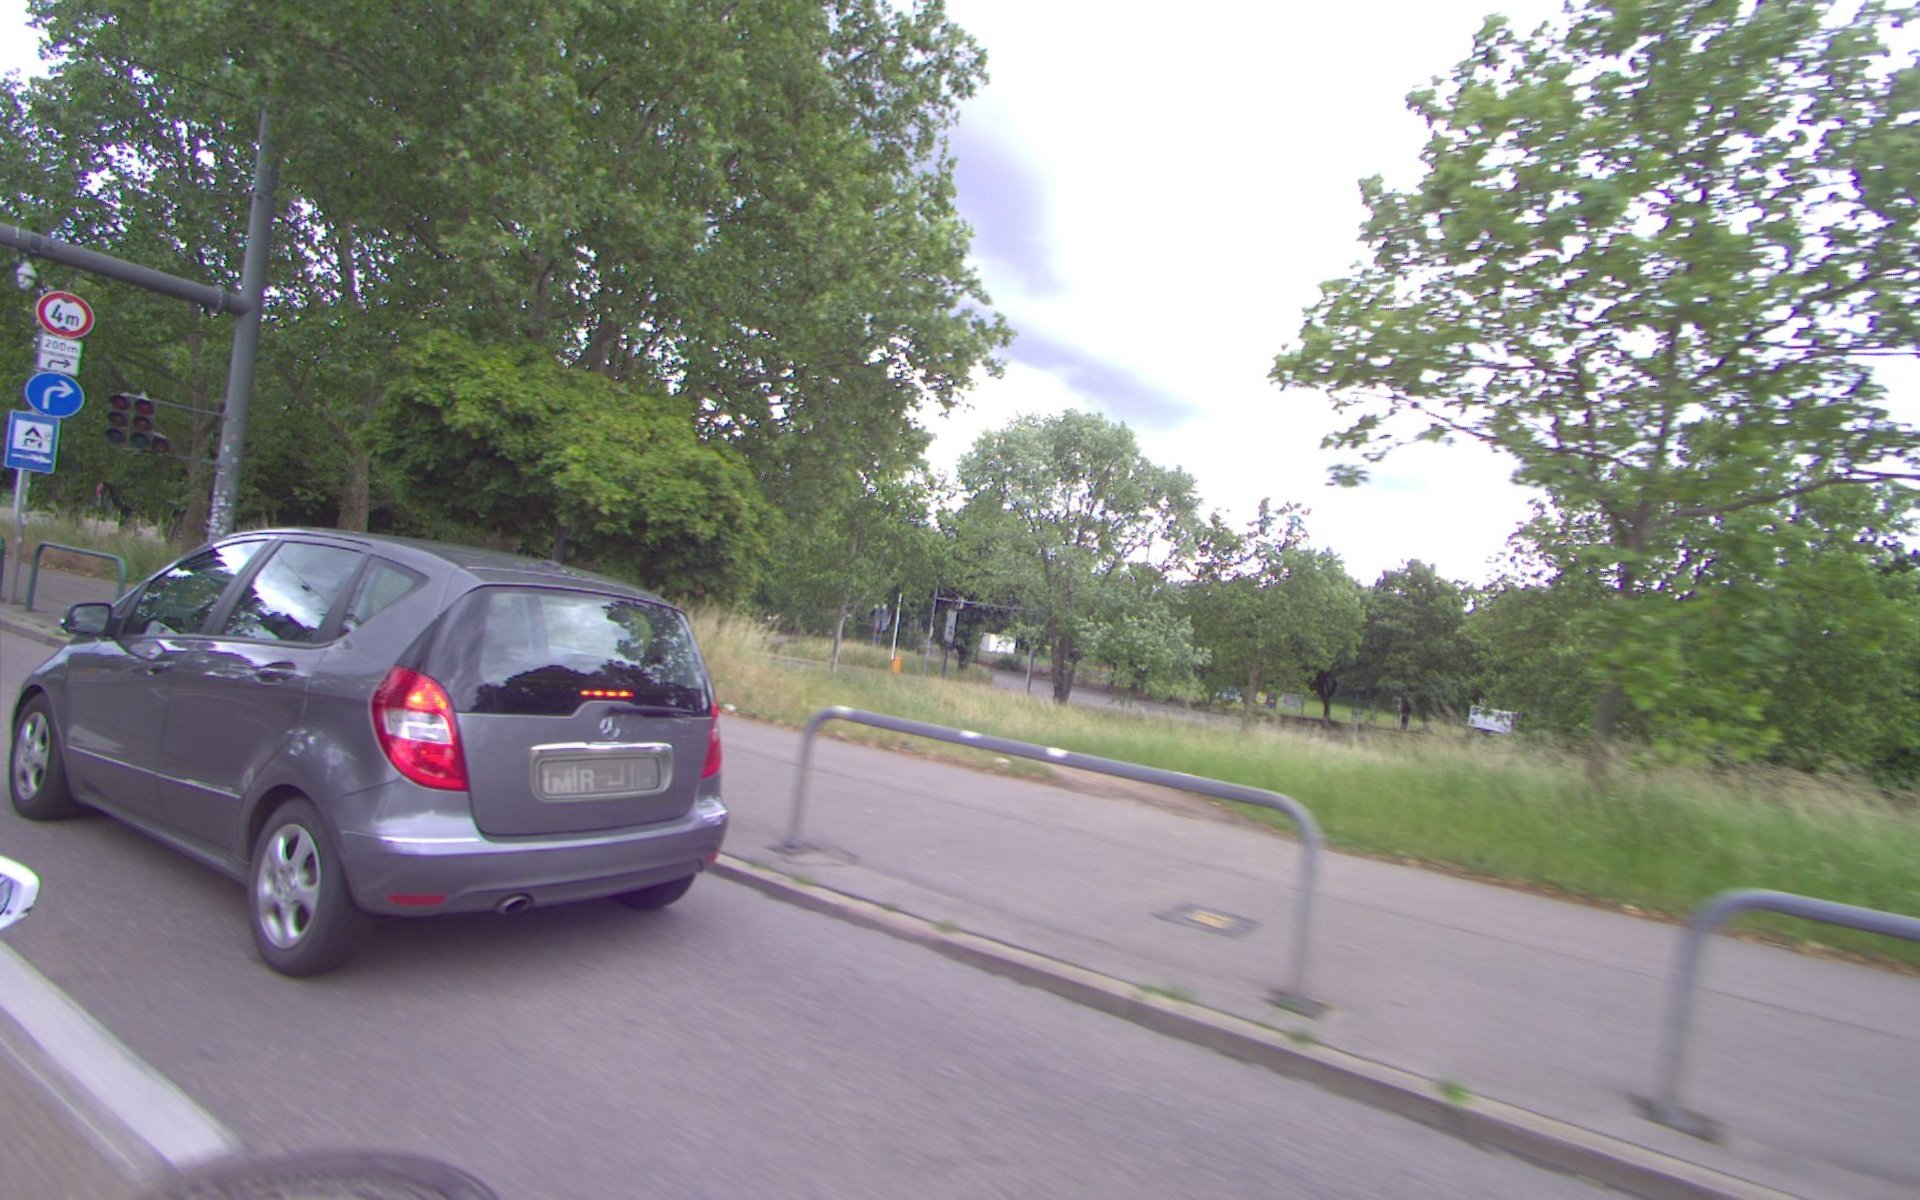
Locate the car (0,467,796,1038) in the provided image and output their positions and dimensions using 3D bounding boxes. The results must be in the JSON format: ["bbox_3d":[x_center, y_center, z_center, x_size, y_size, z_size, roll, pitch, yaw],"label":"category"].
[{"bbox_3d":[-3.008,0.424,4.981,3.967,1.635,1.829,8,-1,32],"label":"car"}]
